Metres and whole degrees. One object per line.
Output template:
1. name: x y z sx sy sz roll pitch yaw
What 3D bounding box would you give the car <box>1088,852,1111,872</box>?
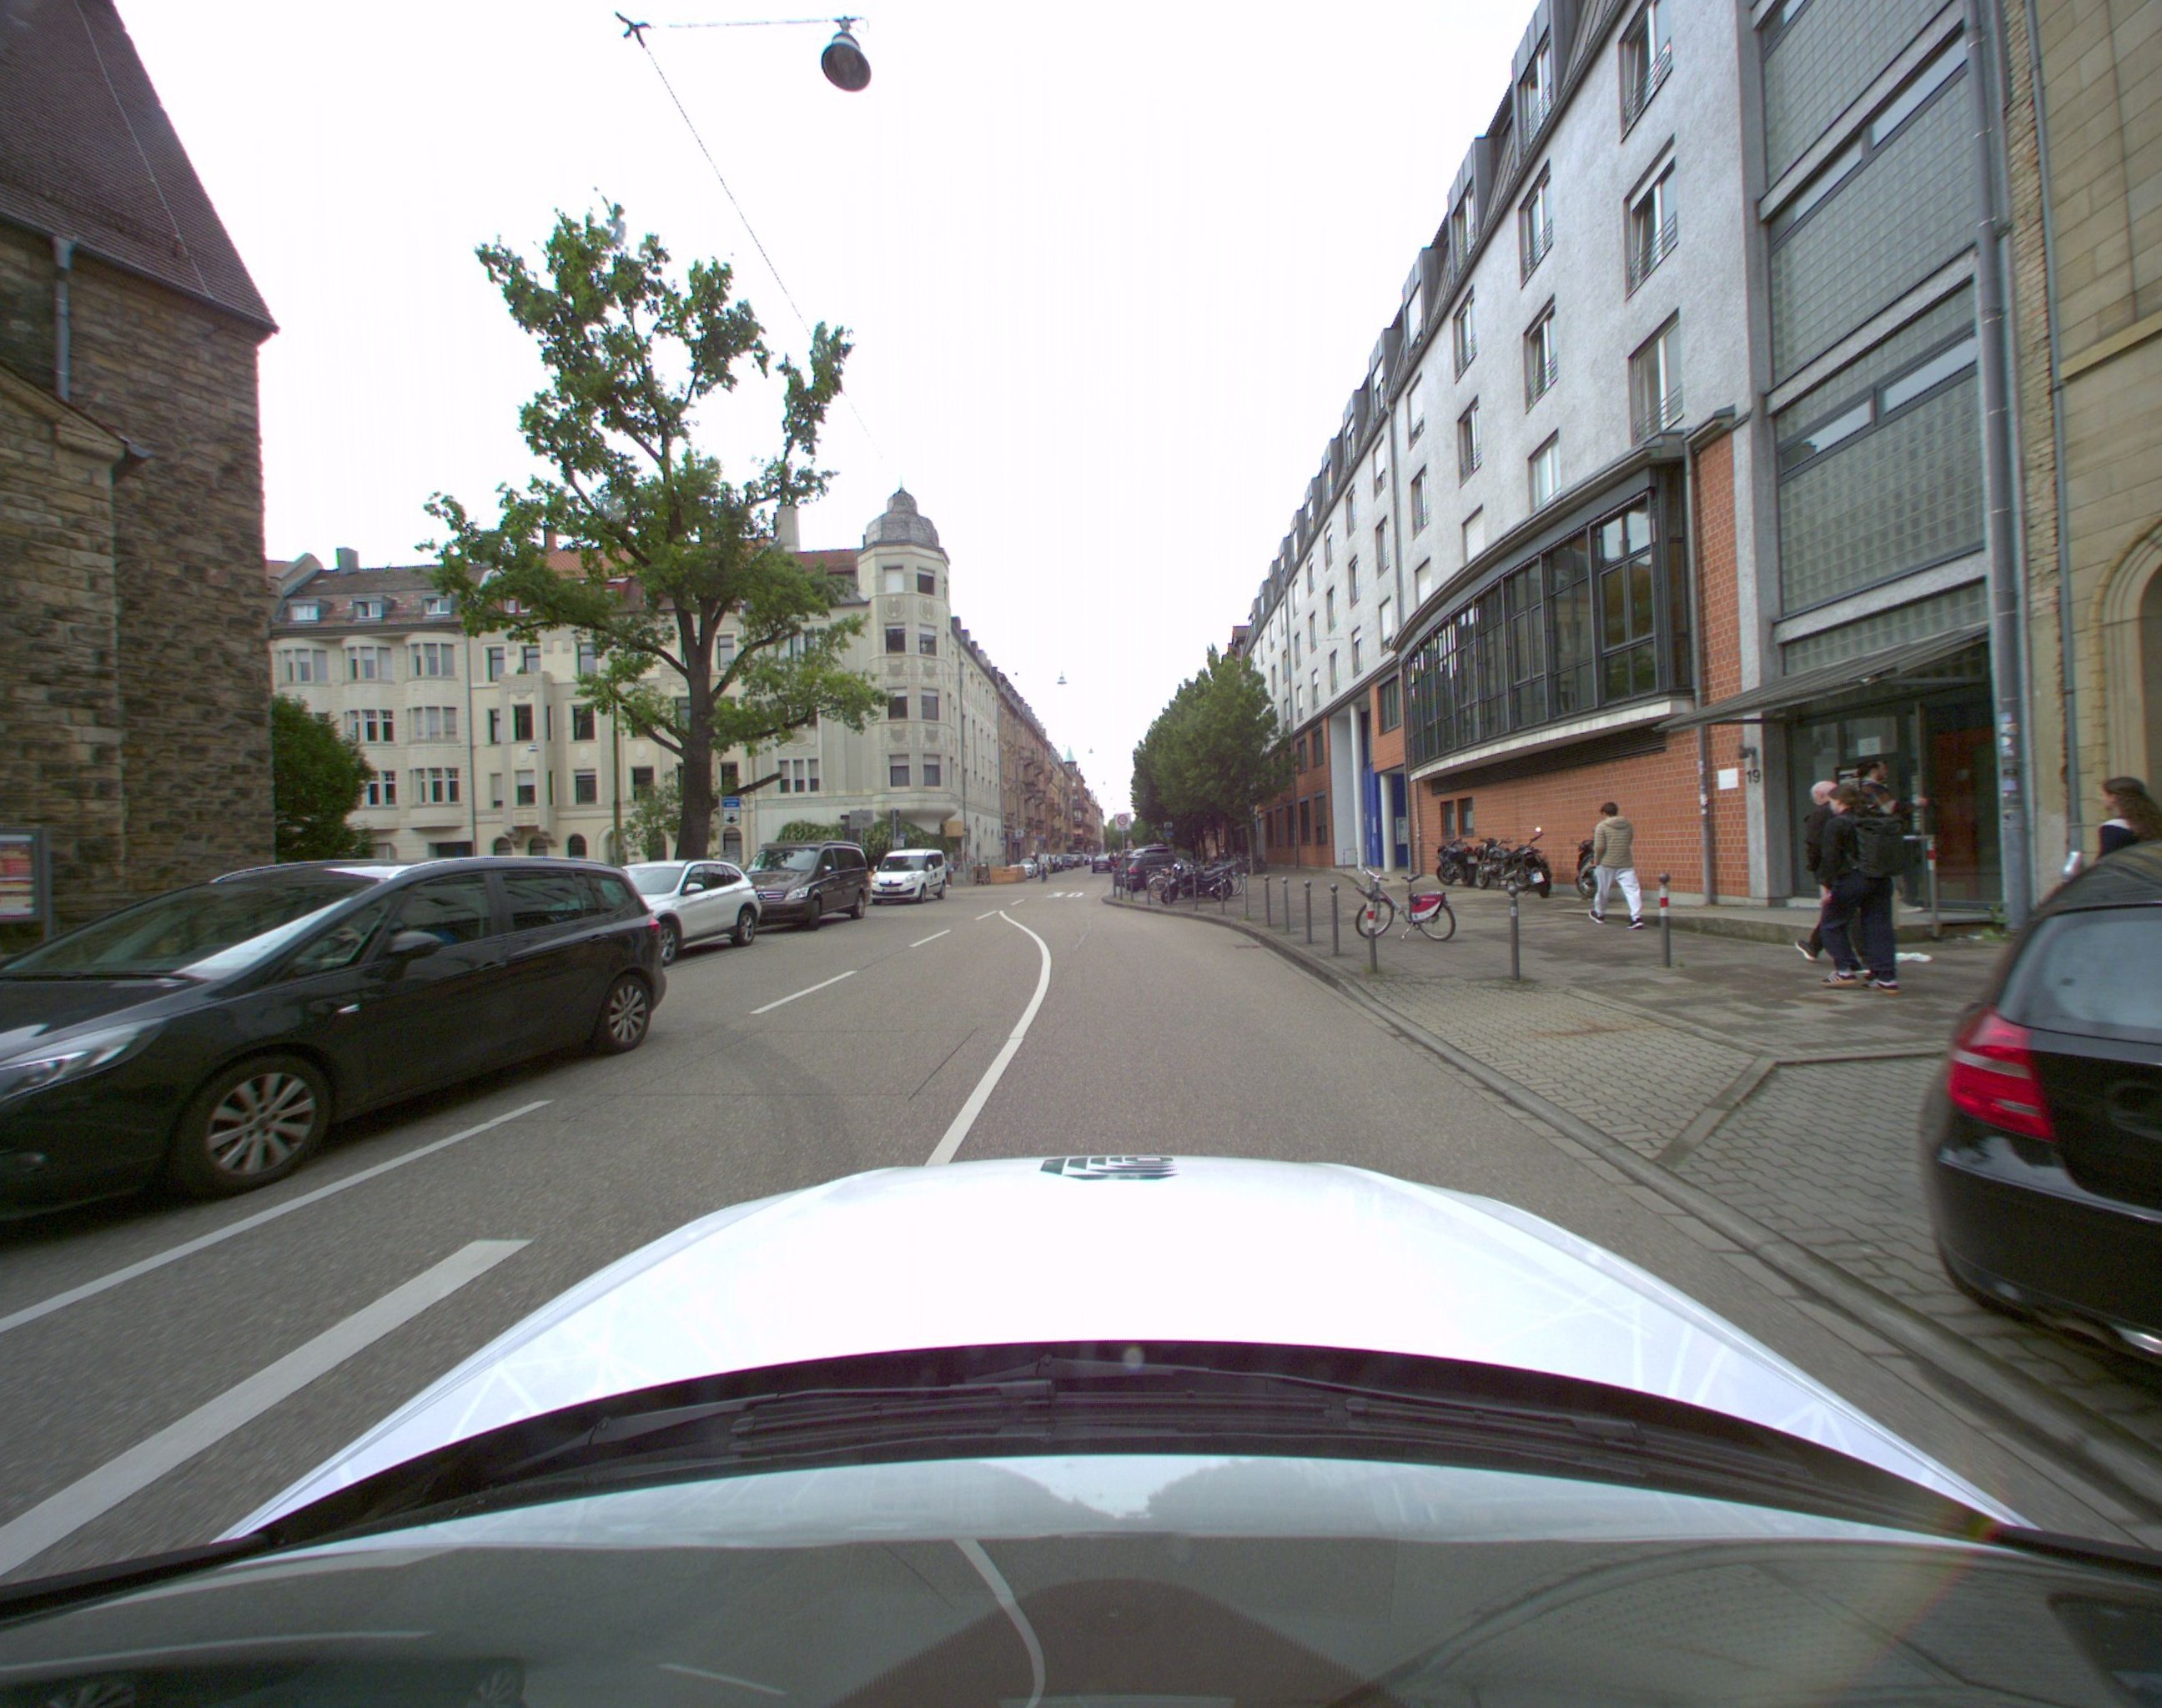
1. car: 1.698 0.752 73.145 1.986 1.681 4.002 -2 -1 2

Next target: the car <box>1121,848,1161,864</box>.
1. car: 8.424 0.296 114.144 5.416 1.868 1.933 -3 -1 -27

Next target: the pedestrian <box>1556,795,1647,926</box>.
1. pedestrian: 7.416 0.091 11.644 0.628 1.753 0.811 -5 0 0

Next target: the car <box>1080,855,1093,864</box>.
1. car: 0.915 0.897 135.523 1.987 1.321 3.999 -2 -1 0

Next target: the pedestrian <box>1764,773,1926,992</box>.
1. pedestrian: 6.216 0.228 6.664 0.516 1.662 0.716 -4 -2 0

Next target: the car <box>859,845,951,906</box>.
1. car: -6.117 0.681 28.820 1.834 1.939 4.554 -2 0 5

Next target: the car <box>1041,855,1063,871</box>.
1. car: -2.887 0.895 81.799 1.936 1.617 3.945 -1 0 3

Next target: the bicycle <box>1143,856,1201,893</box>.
1. bicycle: 3.162 0.709 28.330 1.877 1.141 0.612 -3 -2 0

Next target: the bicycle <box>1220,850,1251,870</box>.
1. bicycle: 9.079 0.366 47.907 1.745 1.092 0.565 -2 -2 2

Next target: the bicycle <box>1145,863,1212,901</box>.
1. bicycle: 2.933 0.838 24.610 1.923 1.043 0.612 -3 -2 0

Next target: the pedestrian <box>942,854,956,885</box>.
1. pedestrian: -7.316 0.864 45.239 0.582 1.735 0.500 -1 -2 -33

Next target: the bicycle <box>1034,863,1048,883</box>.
1. bicycle: -2.385 1.121 48.511 0.565 1.087 1.989 -2 0 5

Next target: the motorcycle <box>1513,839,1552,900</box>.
1. motorcycle: 9.227 0.286 16.665 0.595 1.143 1.894 -3 0 28

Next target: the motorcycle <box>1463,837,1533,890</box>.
1. motorcycle: 9.597 0.212 18.821 0.598 1.143 2.072 -3 0 3

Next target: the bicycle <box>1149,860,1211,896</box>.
1. bicycle: 3.167 0.759 26.245 1.877 1.043 0.612 -3 -2 0

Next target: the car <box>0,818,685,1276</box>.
1. car: -4.754 0.724 5.292 1.837 1.684 4.553 -2 0 4

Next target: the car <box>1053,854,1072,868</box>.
1. car: -2.171 0.881 97.858 1.936 1.617 3.945 -1 0 3

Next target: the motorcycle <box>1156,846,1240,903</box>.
1. motorcycle: 3.220 0.576 22.575 2.127 1.429 0.770 -3 -2 0

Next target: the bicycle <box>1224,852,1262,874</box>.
1. bicycle: 8.401 0.469 42.207 1.828 1.092 0.543 -2 -2 2

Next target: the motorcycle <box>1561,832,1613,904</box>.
1. motorcycle: 9.243 0.229 14.911 0.595 1.193 1.576 -3 1 26

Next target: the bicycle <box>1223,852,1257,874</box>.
1. bicycle: 8.649 0.495 44.408 1.745 1.092 0.565 -2 -2 2

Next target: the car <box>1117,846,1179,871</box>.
1. car: 6.111 0.405 74.262 5.422 1.992 1.931 -3 -1 -31

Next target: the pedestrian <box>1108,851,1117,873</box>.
1. pedestrian: 3.142 0.768 81.218 0.887 2.146 1.028 -2 -2 2

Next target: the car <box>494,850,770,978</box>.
1. car: -7.010 0.811 13.383 1.835 1.688 4.436 -2 0 3

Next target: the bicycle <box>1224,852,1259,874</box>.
1. bicycle: 8.569 0.479 43.627 1.745 1.092 0.565 -2 -2 2

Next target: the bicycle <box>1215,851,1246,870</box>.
1. bicycle: 8.971 0.389 48.769 1.745 1.092 0.565 -2 -2 2

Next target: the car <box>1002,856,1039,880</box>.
1. car: -4.252 0.957 57.916 1.934 1.553 3.823 -3 -1 6

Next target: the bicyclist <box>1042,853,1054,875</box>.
1. bicyclist: -2.186 0.659 53.967 0.666 1.399 0.783 -2 -2 0

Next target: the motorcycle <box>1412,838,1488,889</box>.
1. motorcycle: 9.559 0.240 21.223 1.024 1.202 2.211 -3 0 3

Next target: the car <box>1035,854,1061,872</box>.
1. car: -2.994 0.830 74.959 1.936 1.617 3.946 -1 0 3

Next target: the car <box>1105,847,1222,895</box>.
1. car: 3.332 0.672 32.652 4.301 1.578 1.845 -4 0 -30

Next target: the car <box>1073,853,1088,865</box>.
1. car: -0.074 0.746 120.607 1.936 1.738 3.946 -2 0 3

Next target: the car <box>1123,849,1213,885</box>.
1. car: 4.387 0.660 41.076 4.070 1.585 1.886 -3 -1 -28

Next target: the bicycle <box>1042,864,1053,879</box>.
1. bicycle: -2.180 1.177 53.914 0.533 0.977 1.866 -2 -1 3

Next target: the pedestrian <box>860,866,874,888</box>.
1. pedestrian: -11.773 1.257 44.864 0.576 1.197 0.555 -2 0 3

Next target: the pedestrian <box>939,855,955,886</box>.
1. pedestrian: -7.335 0.918 44.504 0.573 1.660 0.579 -2 -2 24

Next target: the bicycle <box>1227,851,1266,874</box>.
1. bicycle: 8.409 0.451 41.397 1.887 1.092 0.543 -2 -2 2

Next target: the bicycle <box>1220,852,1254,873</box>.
1. bicycle: 8.629 0.484 45.016 1.745 1.092 0.565 -2 -2 2

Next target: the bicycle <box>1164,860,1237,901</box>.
1. bicycle: 3.484 0.768 23.799 2.002 1.062 0.612 -3 -2 0

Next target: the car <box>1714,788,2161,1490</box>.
1. car: 4.362 0.516 2.620 4.263 1.478 1.673 -5 1 -21

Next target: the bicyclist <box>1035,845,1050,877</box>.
1. bicyclist: -2.294 0.418 48.527 0.778 1.866 0.715 -2 0 5

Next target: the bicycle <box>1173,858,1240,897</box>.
1. bicycle: 3.892 0.719 25.304 1.923 1.077 0.612 -3 -2 0

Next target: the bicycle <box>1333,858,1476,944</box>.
1. bicycle: 4.631 0.667 11.755 0.733 1.104 1.717 -3 0 -38

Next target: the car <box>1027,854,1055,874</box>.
1. car: -3.381 0.818 69.493 1.936 1.617 3.946 -1 0 3

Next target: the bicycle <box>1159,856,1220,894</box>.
1. bicycle: 3.587 0.682 27.076 1.877 1.141 0.612 -3 -2 0

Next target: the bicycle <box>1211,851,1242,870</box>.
1. bicycle: 8.873 0.412 49.648 1.745 1.092 0.565 -2 -2 2

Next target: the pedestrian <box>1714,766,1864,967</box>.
1. pedestrian: 6.745 0.117 7.802 0.665 1.798 0.716 -4 -2 0

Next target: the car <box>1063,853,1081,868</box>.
1. car: -1.130 0.807 103.015 1.936 1.742 3.946 -1 0 3

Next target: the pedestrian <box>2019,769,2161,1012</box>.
1. pedestrian: 6.937 0.221 5.384 0.516 1.510 0.716 -4 -2 0

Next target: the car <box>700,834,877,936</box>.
1. car: -6.639 0.633 19.227 2.005 2.014 5.187 -2 0 3

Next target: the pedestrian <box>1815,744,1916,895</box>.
1. pedestrian: 9.160 -0.384 9.532 0.505 1.689 0.628 -2 -2 2

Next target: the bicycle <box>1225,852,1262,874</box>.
1. bicycle: 8.565 0.482 42.996 1.828 1.092 0.565 -2 -2 2

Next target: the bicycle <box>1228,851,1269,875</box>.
1. bicycle: 8.379 0.453 40.790 1.925 1.092 0.577 -2 -2 2

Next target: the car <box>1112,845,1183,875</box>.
1. car: 5.415 0.496 66.187 5.644 2.127 1.931 -3 -1 -31

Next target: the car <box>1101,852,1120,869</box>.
1. car: 3.281 0.748 90.201 1.986 1.681 4.002 -2 -1 2
